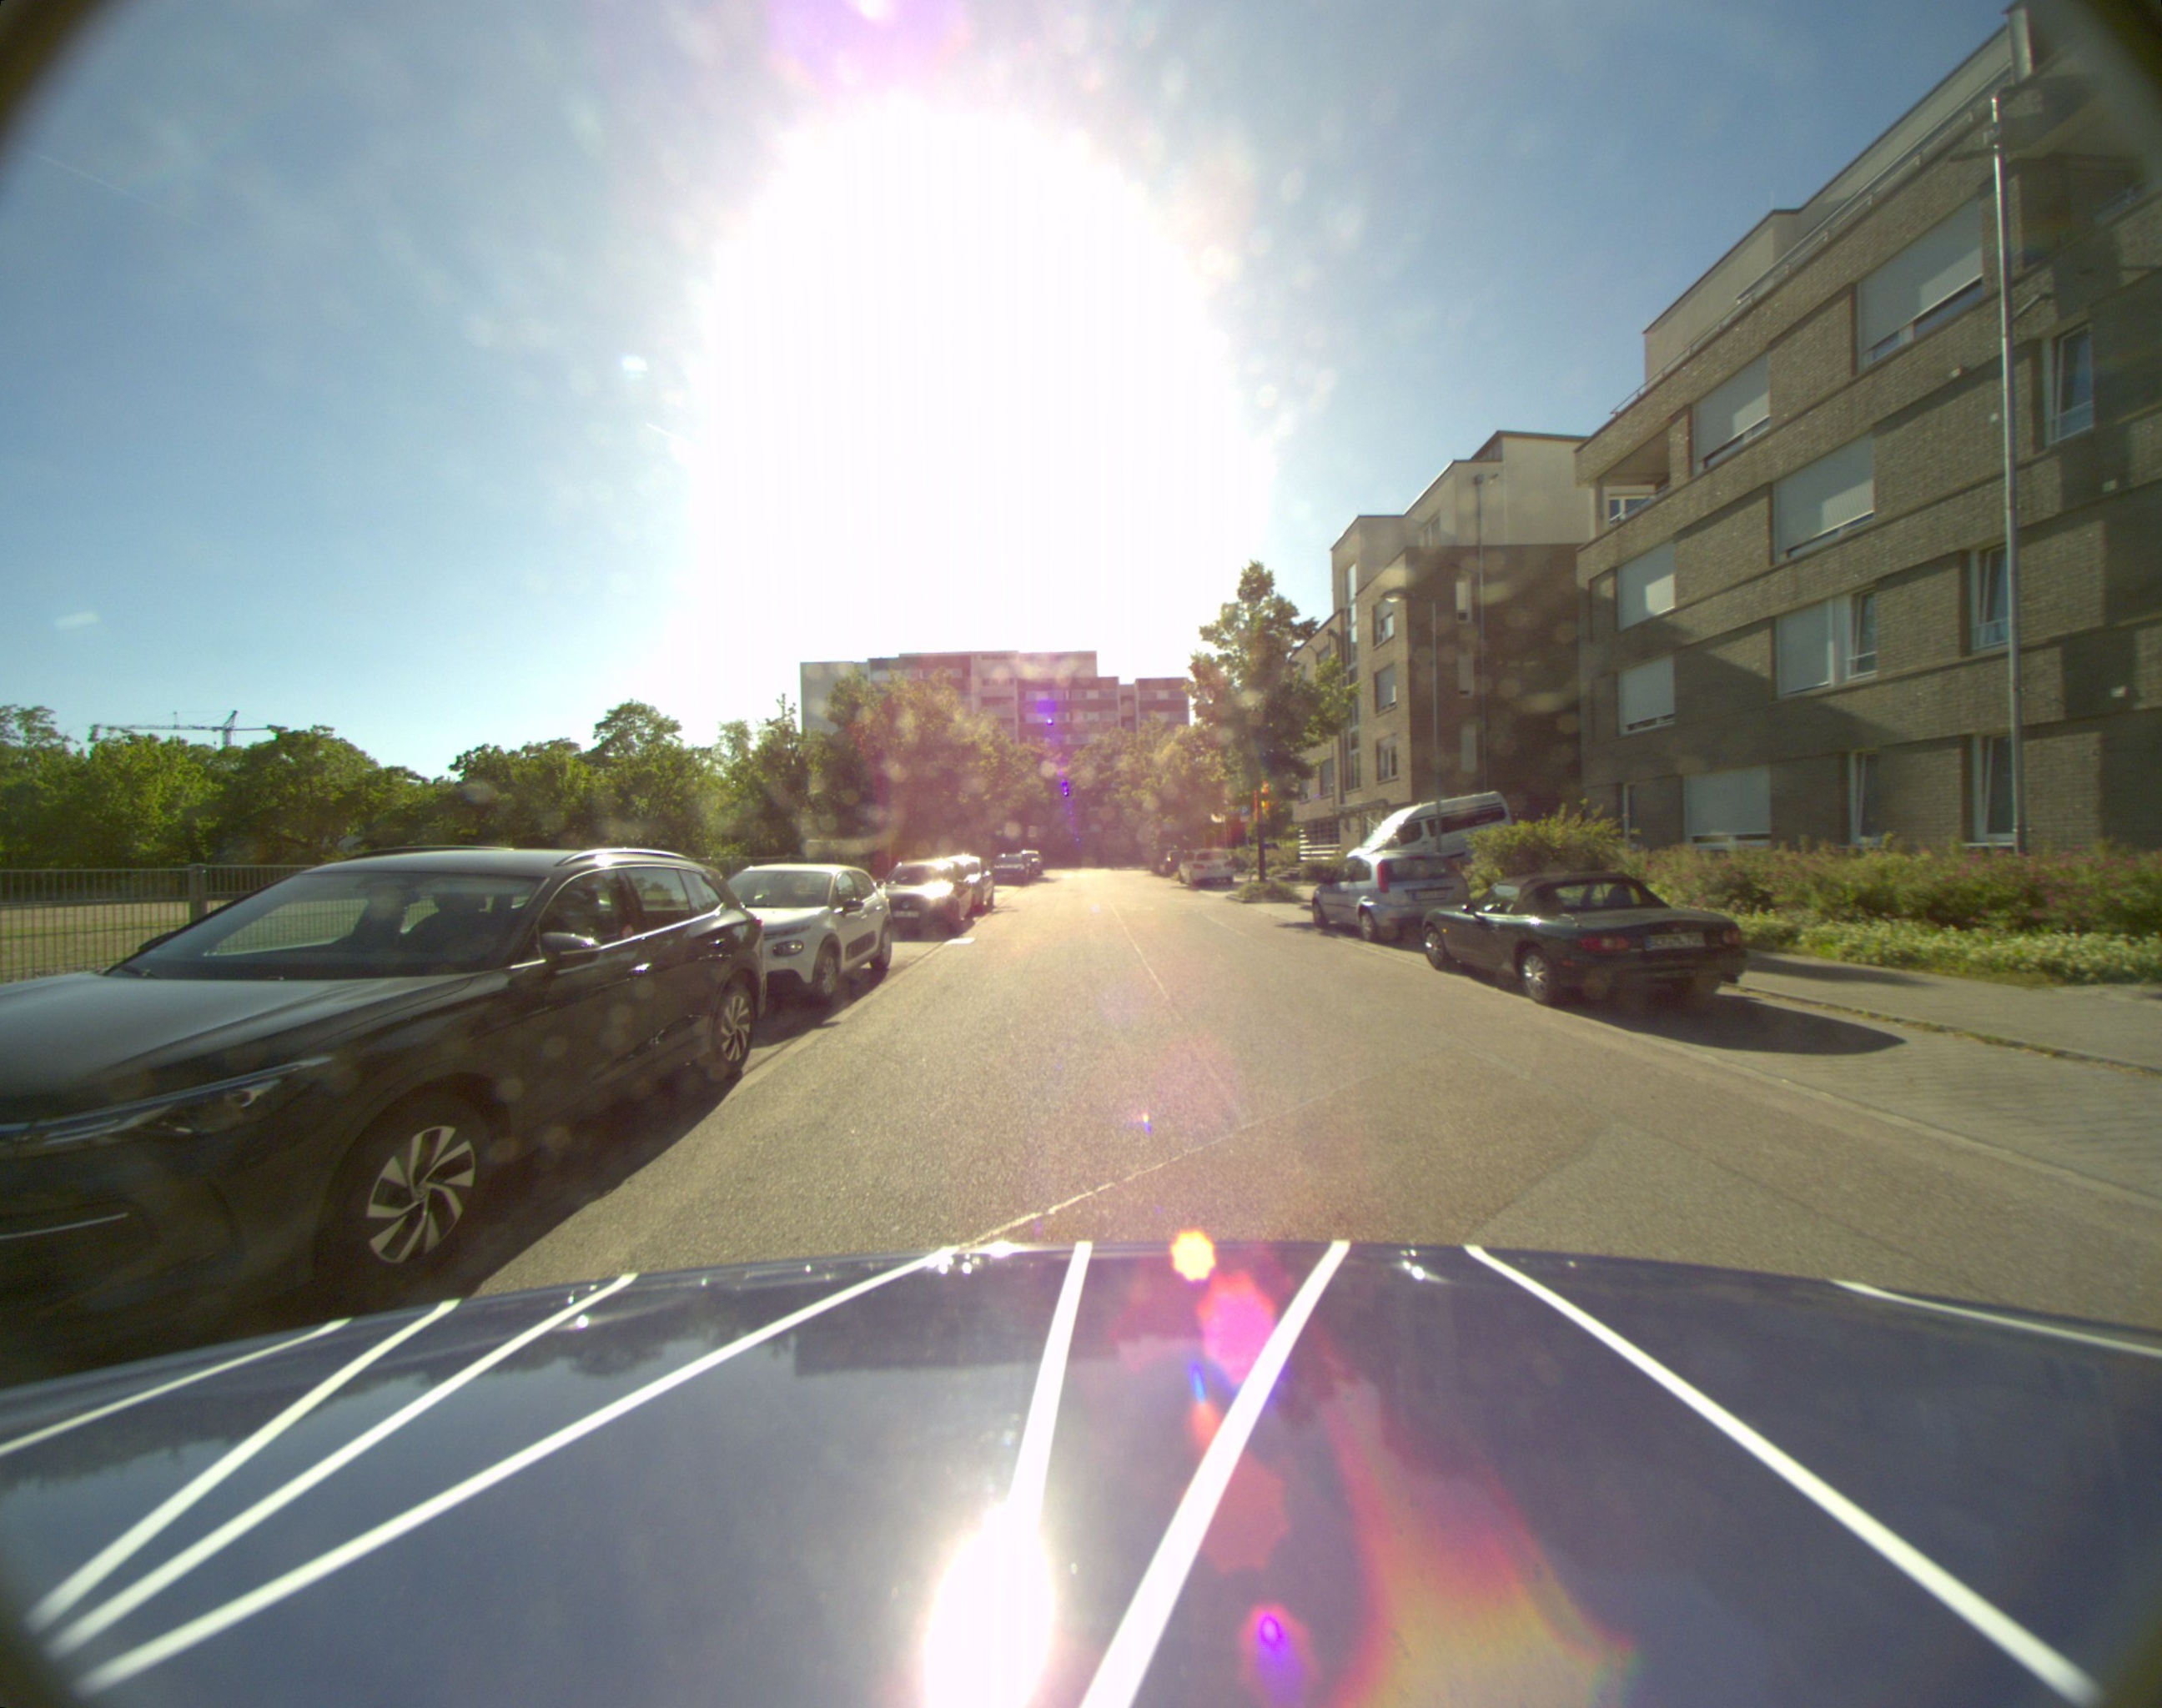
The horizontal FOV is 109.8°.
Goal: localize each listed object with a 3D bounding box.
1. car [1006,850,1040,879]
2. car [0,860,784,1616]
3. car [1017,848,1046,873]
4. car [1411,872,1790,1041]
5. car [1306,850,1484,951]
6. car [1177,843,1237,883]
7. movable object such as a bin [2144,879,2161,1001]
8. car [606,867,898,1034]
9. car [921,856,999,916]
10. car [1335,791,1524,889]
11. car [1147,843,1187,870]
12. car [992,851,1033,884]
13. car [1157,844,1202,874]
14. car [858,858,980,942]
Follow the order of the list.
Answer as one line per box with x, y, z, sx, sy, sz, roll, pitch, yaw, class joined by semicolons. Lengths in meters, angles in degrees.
-3.247;0.566;43.291;1.645;1.458;3.702;2;2;0;car
-3.354;0.908;3.982;1.823;1.638;4.488;2;0;0;car
-3.196;0.423;49.807;1.645;1.458;3.702;2;2;0;car
5.156;0.904;8.186;1.631;1.240;3.562;-3;0;1;car
5.375;0.705;13.500;1.631;1.515;3.562;-1;0;-1;car
5.454;0.357;33.393;1.796;1.590;3.889;-3;0;-3;car
9.684;0.706;6.247;0.921;1.031;0.681;-5;1;-3;movable object such as a bin
-3.580;0.949;9.121;1.823;1.458;3.841;2;0;0;car
-3.393;0.849;21.974;1.645;1.458;3.702;2;2;0;car
11.078;-0.444;24.374;5.153;2.886;2.013;-1;1;-4;car
5.313;0.144;47.436;1.796;1.509;3.889;-3;0;-3;car
-3.354;0.629;37.734;1.645;1.458;3.702;2;2;0;car
5.415;0.274;42.261;1.796;1.509;3.889;-3;0;-3;car
-3.410;0.903;16.702;1.823;1.458;3.841;2;2;0;car
